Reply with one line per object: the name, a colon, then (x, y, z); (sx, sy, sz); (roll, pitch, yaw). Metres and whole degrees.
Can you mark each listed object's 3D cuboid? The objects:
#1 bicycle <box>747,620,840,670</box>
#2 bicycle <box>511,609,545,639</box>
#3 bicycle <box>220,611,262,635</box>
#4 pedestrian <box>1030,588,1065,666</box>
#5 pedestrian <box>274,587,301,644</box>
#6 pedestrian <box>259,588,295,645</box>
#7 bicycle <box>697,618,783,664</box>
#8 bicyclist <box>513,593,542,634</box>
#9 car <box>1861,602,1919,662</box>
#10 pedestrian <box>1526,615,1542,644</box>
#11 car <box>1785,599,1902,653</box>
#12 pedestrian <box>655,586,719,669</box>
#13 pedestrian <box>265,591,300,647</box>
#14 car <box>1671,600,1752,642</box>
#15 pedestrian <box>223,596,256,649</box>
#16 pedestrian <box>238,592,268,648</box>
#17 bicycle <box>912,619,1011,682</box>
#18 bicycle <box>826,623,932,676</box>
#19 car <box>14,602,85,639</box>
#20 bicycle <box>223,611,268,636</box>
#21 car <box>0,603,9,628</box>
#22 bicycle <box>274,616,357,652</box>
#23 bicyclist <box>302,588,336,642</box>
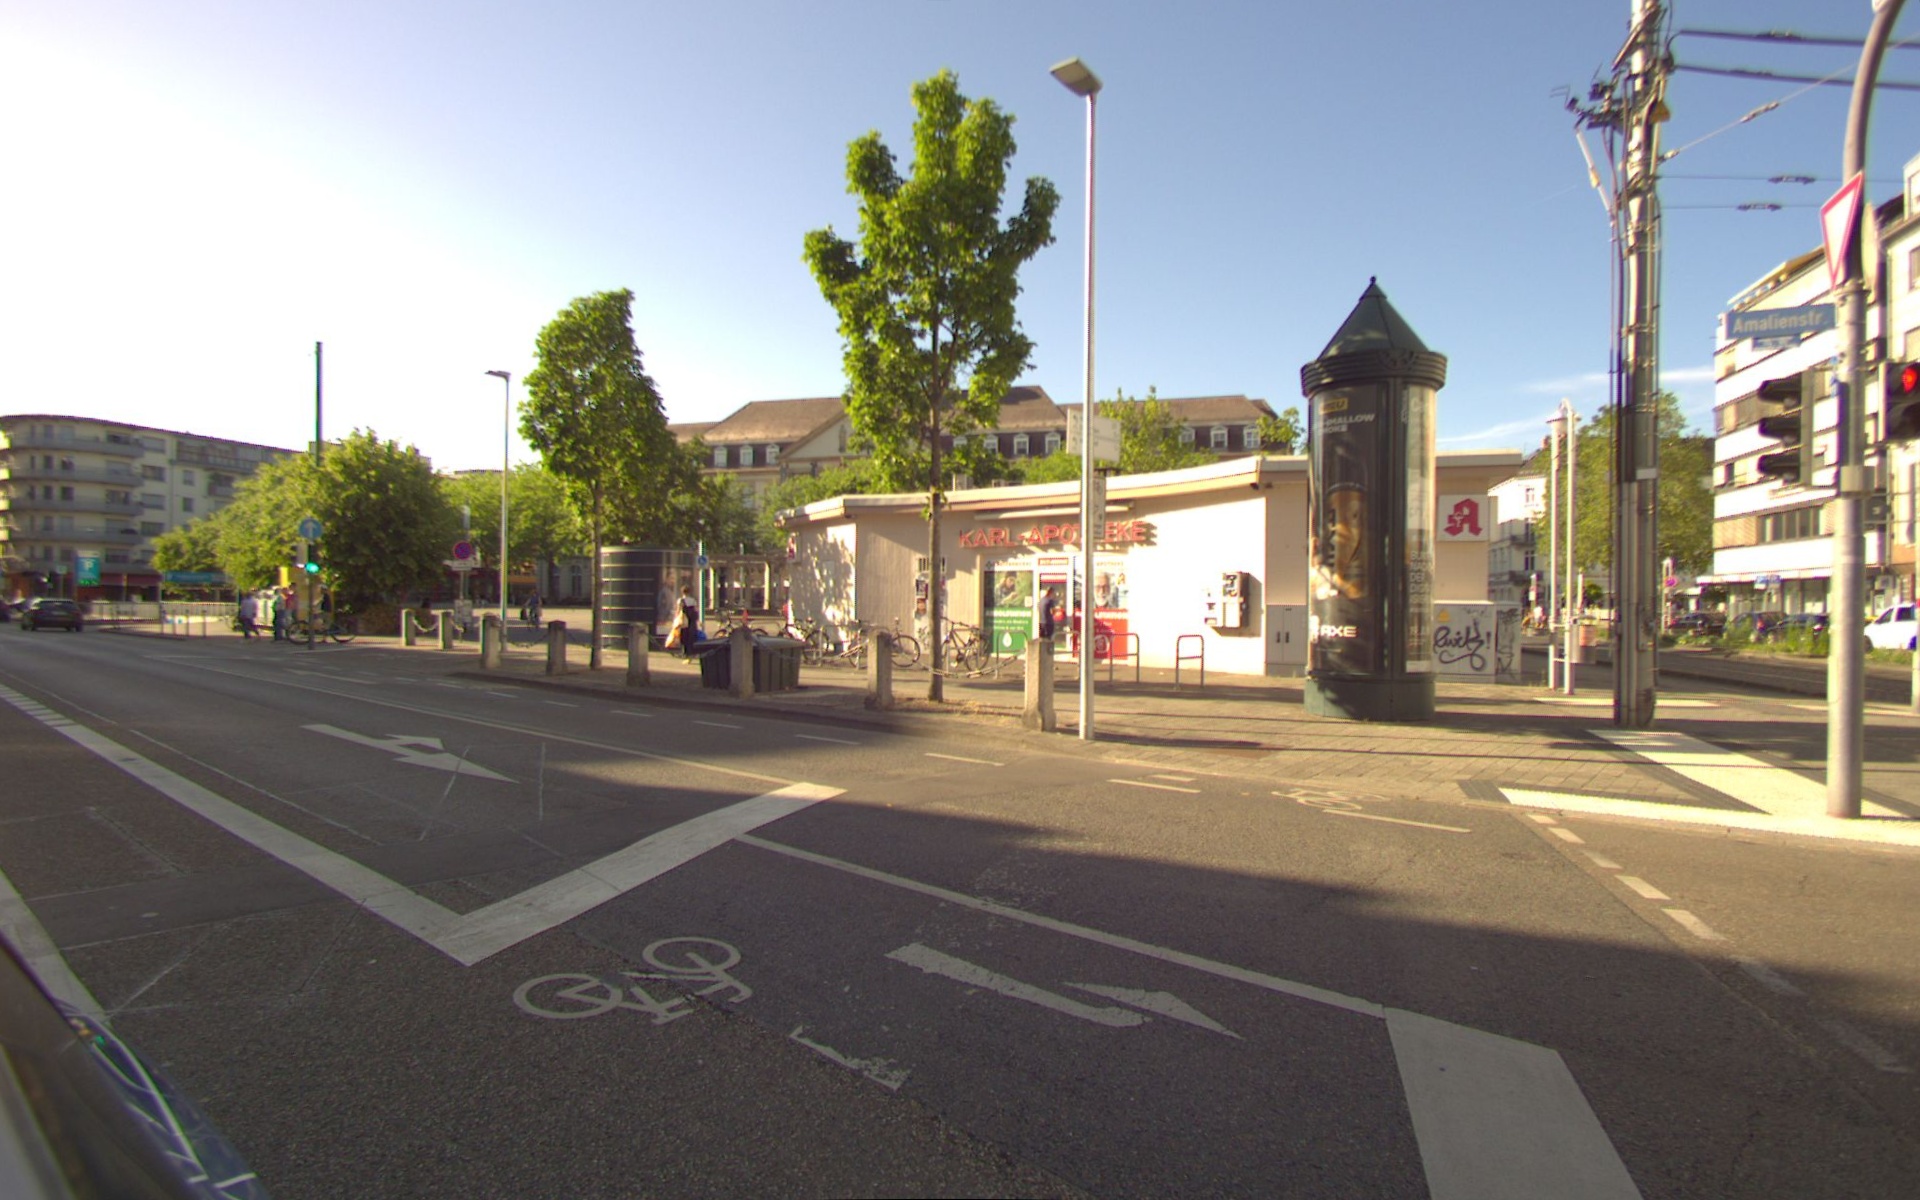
bicycle: (-3.581, 0.946, 21.863); (1.861, 1.010, 0.766); (0, 0, -41)
bicycle: (-17.492, 0.957, 40.935); (0.927, 1.141, 2.486); (1, -1, -31)
bicycle: (-31.279, 0.985, 44.041); (1.506, 1.039, 0.365); (0, -1, -34)
pedestrian: (1.984, 0.608, 22.958); (0.611, 1.722, 0.514); (0, -1, 41)
pedestrian: (-22.913, 0.516, 34.460); (0.784, 1.932, 0.601); (0, -1, 43)
pedestrian: (-22.168, 0.534, 32.843); (0.776, 1.825, 0.586); (0, 0, 15)
bicycle: (-5.193, 0.947, 23.927); (1.861, 1.010, 0.766); (0, 0, -41)
bicyclist: (-17.481, 0.543, 40.902); (0.927, 1.620, 1.174); (1, -1, -31)
car: (33.972, 1.096, 35.363); (1.985, 2.029, 4.811); (0, -1, 19)
pedestrian: (34.658, 1.767, 61.095); (0.694, 1.728, 0.582); (1, -1, -30)
car: (35.082, 1.012, 40.346); (1.982, 2.029, 3.978); (0, -1, 16)
pedestrian: (-5.812, 0.569, 21.556); (1.086, 1.711, 0.890); (0, 0, 43)
pedestrian: (-22.487, 0.622, 33.614); (0.772, 1.825, 0.590); (0, 0, -3)
car: (37.934, 1.060, 51.201); (1.982, 2.029, 3.978); (0, -1, 16)
pedestrian: (-23.396, 0.723, 32.870); (0.676, 1.686, 0.699); (0, 0, -17)
pedestrian: (-23.509, 0.660, 33.658); (0.640, 1.871, 0.626); (0, 0, -17)
bicycle: (0.046, 0.923, 19.207); (0.753, 1.096, 1.967); (0, 0, 42)
bicycle: (-1.648, 0.988, 20.755); (1.985, 1.010, 0.890); (0, 0, -35)
car: (-39.404, 0.877, 43.774); (4.040, 1.408, 1.633); (0, -5, 40)
bicycle: (-30.328, 0.983, 42.969); (0.364, 1.039, 1.529); (0, -1, 40)
car: (-57.018, 0.904, 58.967); (4.249, 1.434, 1.732); (0, 1, 38)
bicycle: (-20.334, 1.063, 31.988); (2.138, 1.080, 0.766); (0, 0, -28)
bicyclist: (-20.289, 0.460, 32.047); (0.791, 1.661, 0.997); (0, 0, -27)
